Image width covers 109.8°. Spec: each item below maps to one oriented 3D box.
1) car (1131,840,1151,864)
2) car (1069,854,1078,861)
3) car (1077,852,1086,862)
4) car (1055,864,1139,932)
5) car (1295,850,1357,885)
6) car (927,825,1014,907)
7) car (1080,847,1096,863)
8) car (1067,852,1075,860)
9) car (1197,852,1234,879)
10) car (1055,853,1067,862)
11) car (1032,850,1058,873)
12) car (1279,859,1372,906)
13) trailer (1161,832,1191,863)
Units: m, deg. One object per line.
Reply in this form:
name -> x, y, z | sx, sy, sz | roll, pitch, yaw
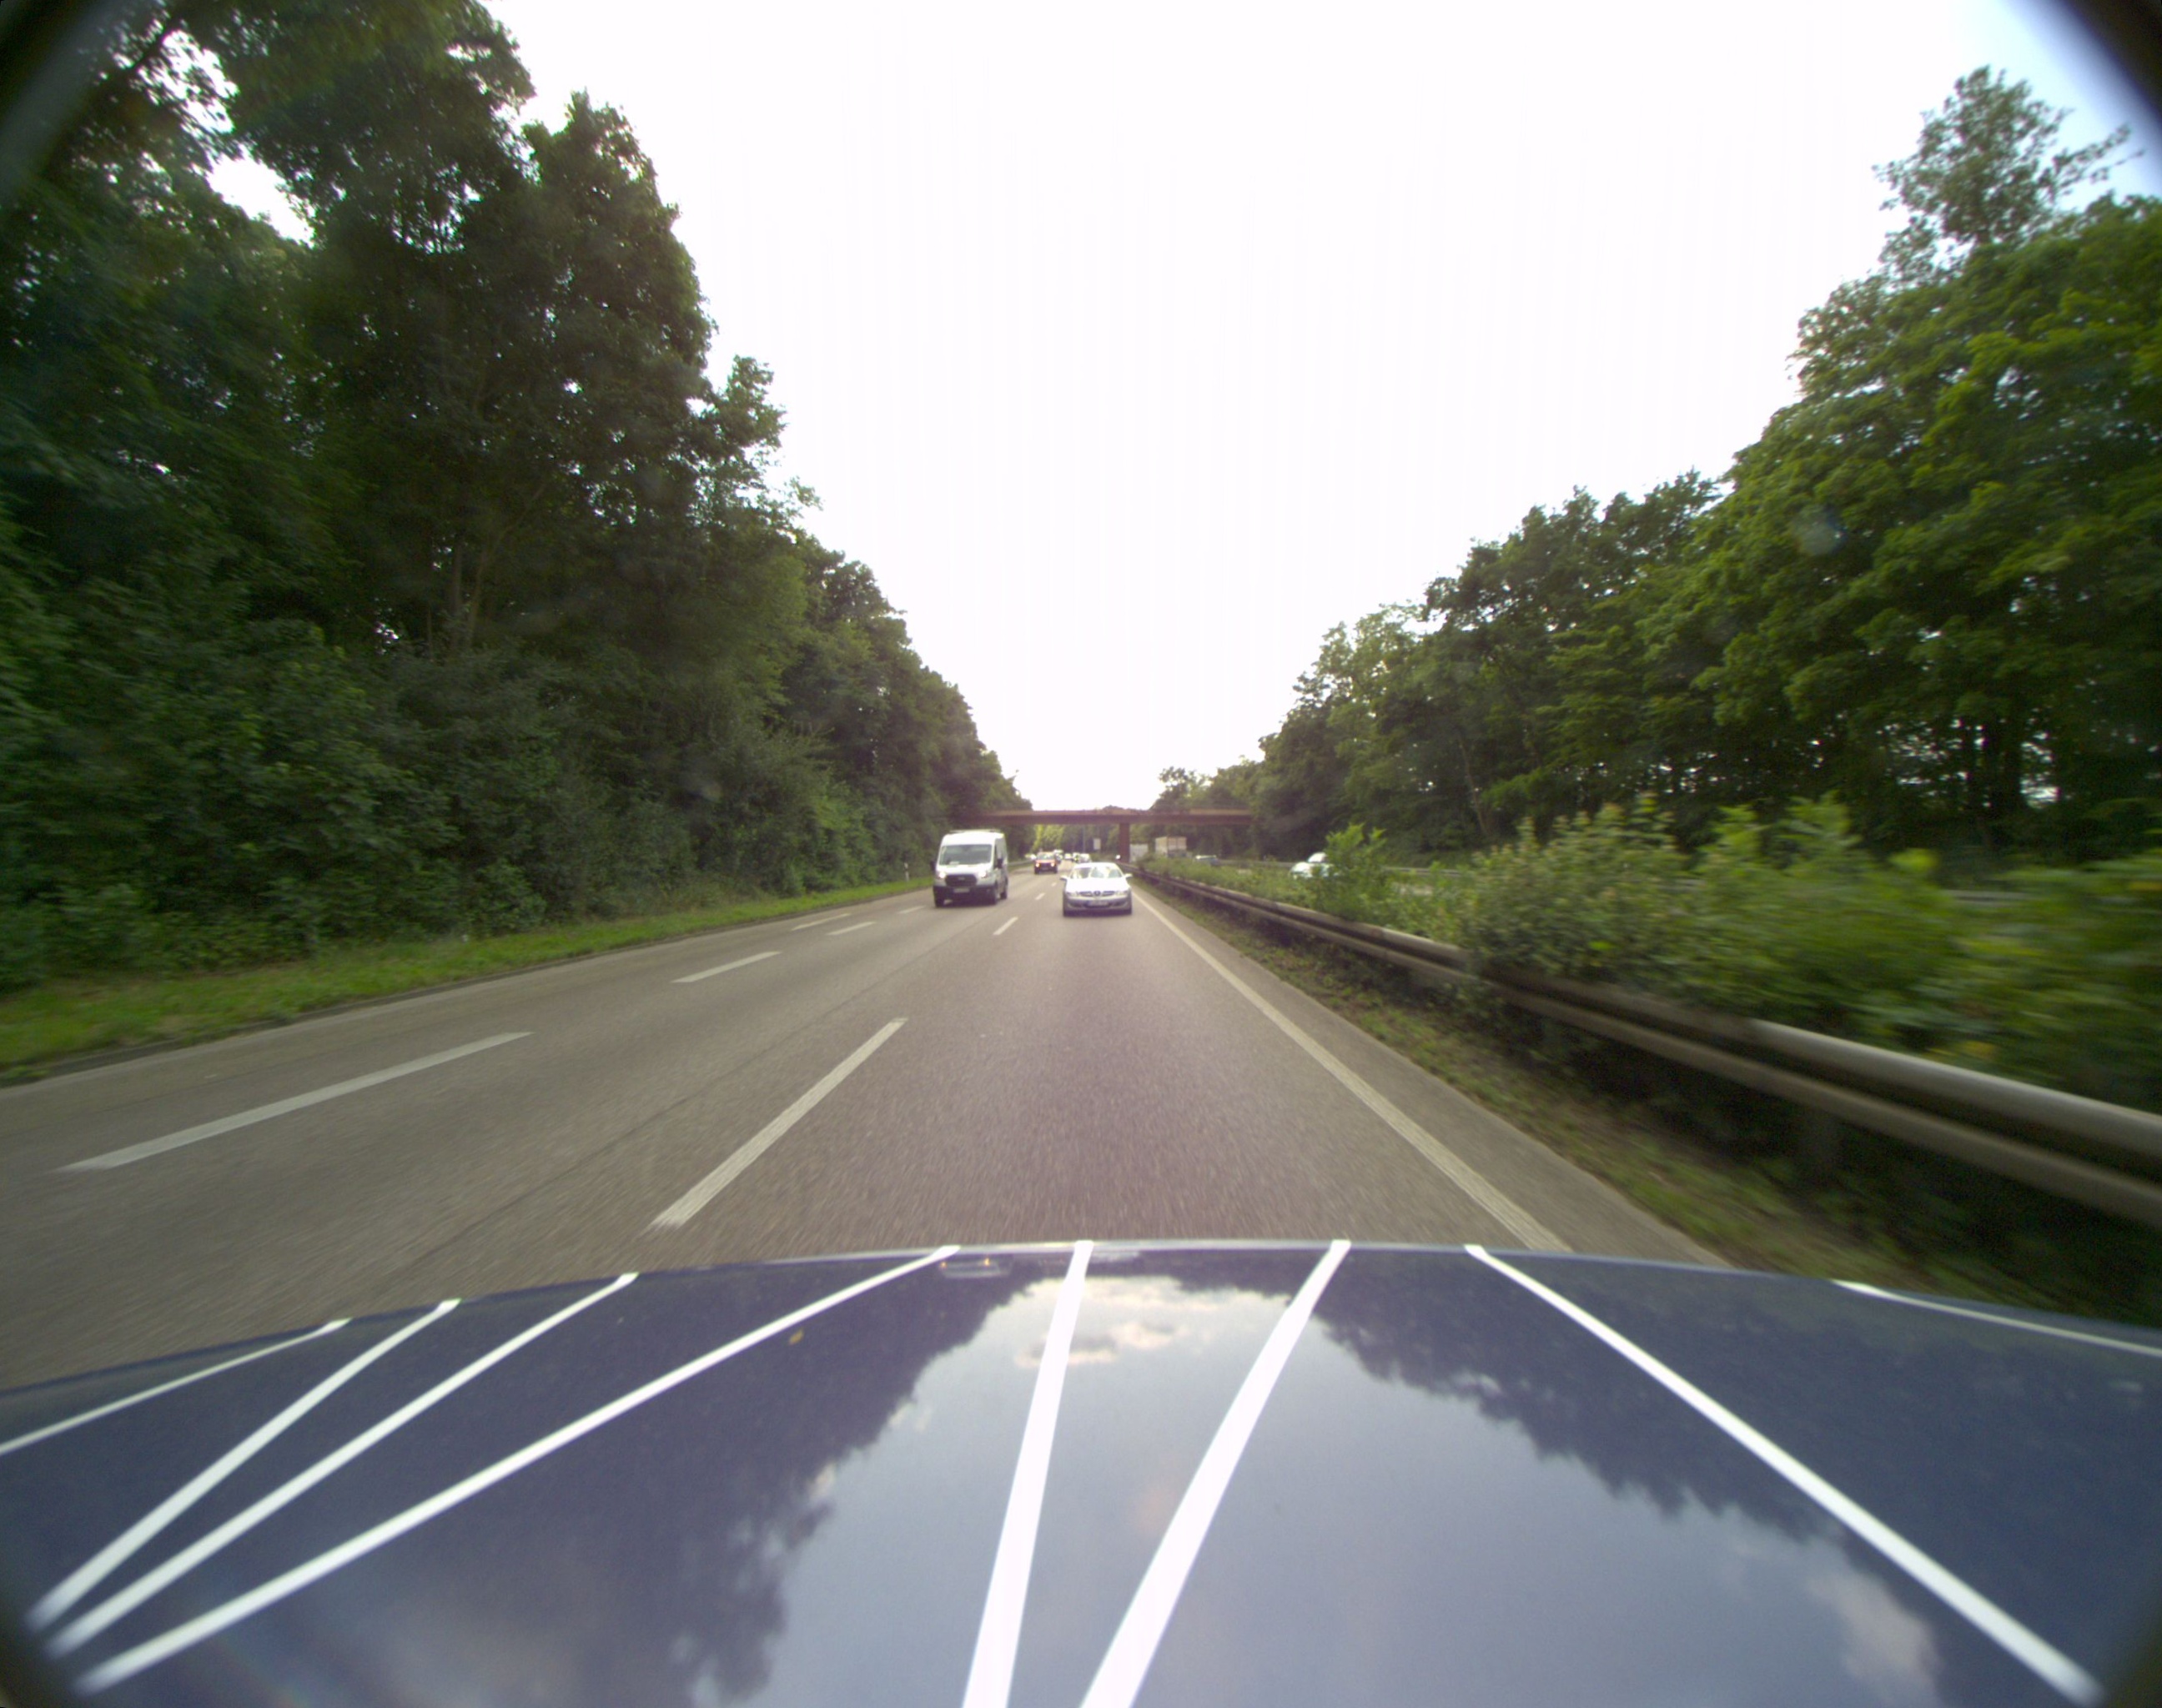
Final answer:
car -> 8.406, -0.315, 106.533 | 2.294, 3.214, 7.286 | 0, 0, 1
car -> -1.563, 0.743, 158.805 | 1.699, 1.579, 4.000 | 0, 0, 1
car -> 0.029, 0.473, 128.924 | 1.472, 1.560, 3.294 | 0, 0, 1
car -> 0.396, 0.969, 18.906 | 1.751, 1.295, 5.223 | -2, 0, 1
car -> 12.920, 0.663, 40.323 | 1.832, 1.652, 4.594 | -2, 0, 1
car -> -3.691, 0.359, 26.392 | 2.104, 2.493, 5.279 | -2, 0, 1
car -> 0.900, 0.146, 97.069 | 1.998, 2.002, 4.000 | -1, 0, 1
car -> -2.768, 0.590, 205.258 | 1.724, 2.002, 4.001 | -1, 0, 5
car -> 8.742, 0.719, 49.530 | 1.721, 1.621, 4.000 | -1, 0, 1
car -> -3.332, 0.551, 128.521 | 1.889, 1.516, 4.000 | -1, 0, 1
car -> -3.106, 0.611, 66.042 | 1.908, 1.795, 4.395 | -2, 0, 1
car -> 8.514, 0.932, 26.912 | 1.788, 1.423, 4.717 | -2, 0, 1
trailer -> 13.016, -0.903, 104.963 | 3.067, 4.019, 9.974 | -1, 0, 2
